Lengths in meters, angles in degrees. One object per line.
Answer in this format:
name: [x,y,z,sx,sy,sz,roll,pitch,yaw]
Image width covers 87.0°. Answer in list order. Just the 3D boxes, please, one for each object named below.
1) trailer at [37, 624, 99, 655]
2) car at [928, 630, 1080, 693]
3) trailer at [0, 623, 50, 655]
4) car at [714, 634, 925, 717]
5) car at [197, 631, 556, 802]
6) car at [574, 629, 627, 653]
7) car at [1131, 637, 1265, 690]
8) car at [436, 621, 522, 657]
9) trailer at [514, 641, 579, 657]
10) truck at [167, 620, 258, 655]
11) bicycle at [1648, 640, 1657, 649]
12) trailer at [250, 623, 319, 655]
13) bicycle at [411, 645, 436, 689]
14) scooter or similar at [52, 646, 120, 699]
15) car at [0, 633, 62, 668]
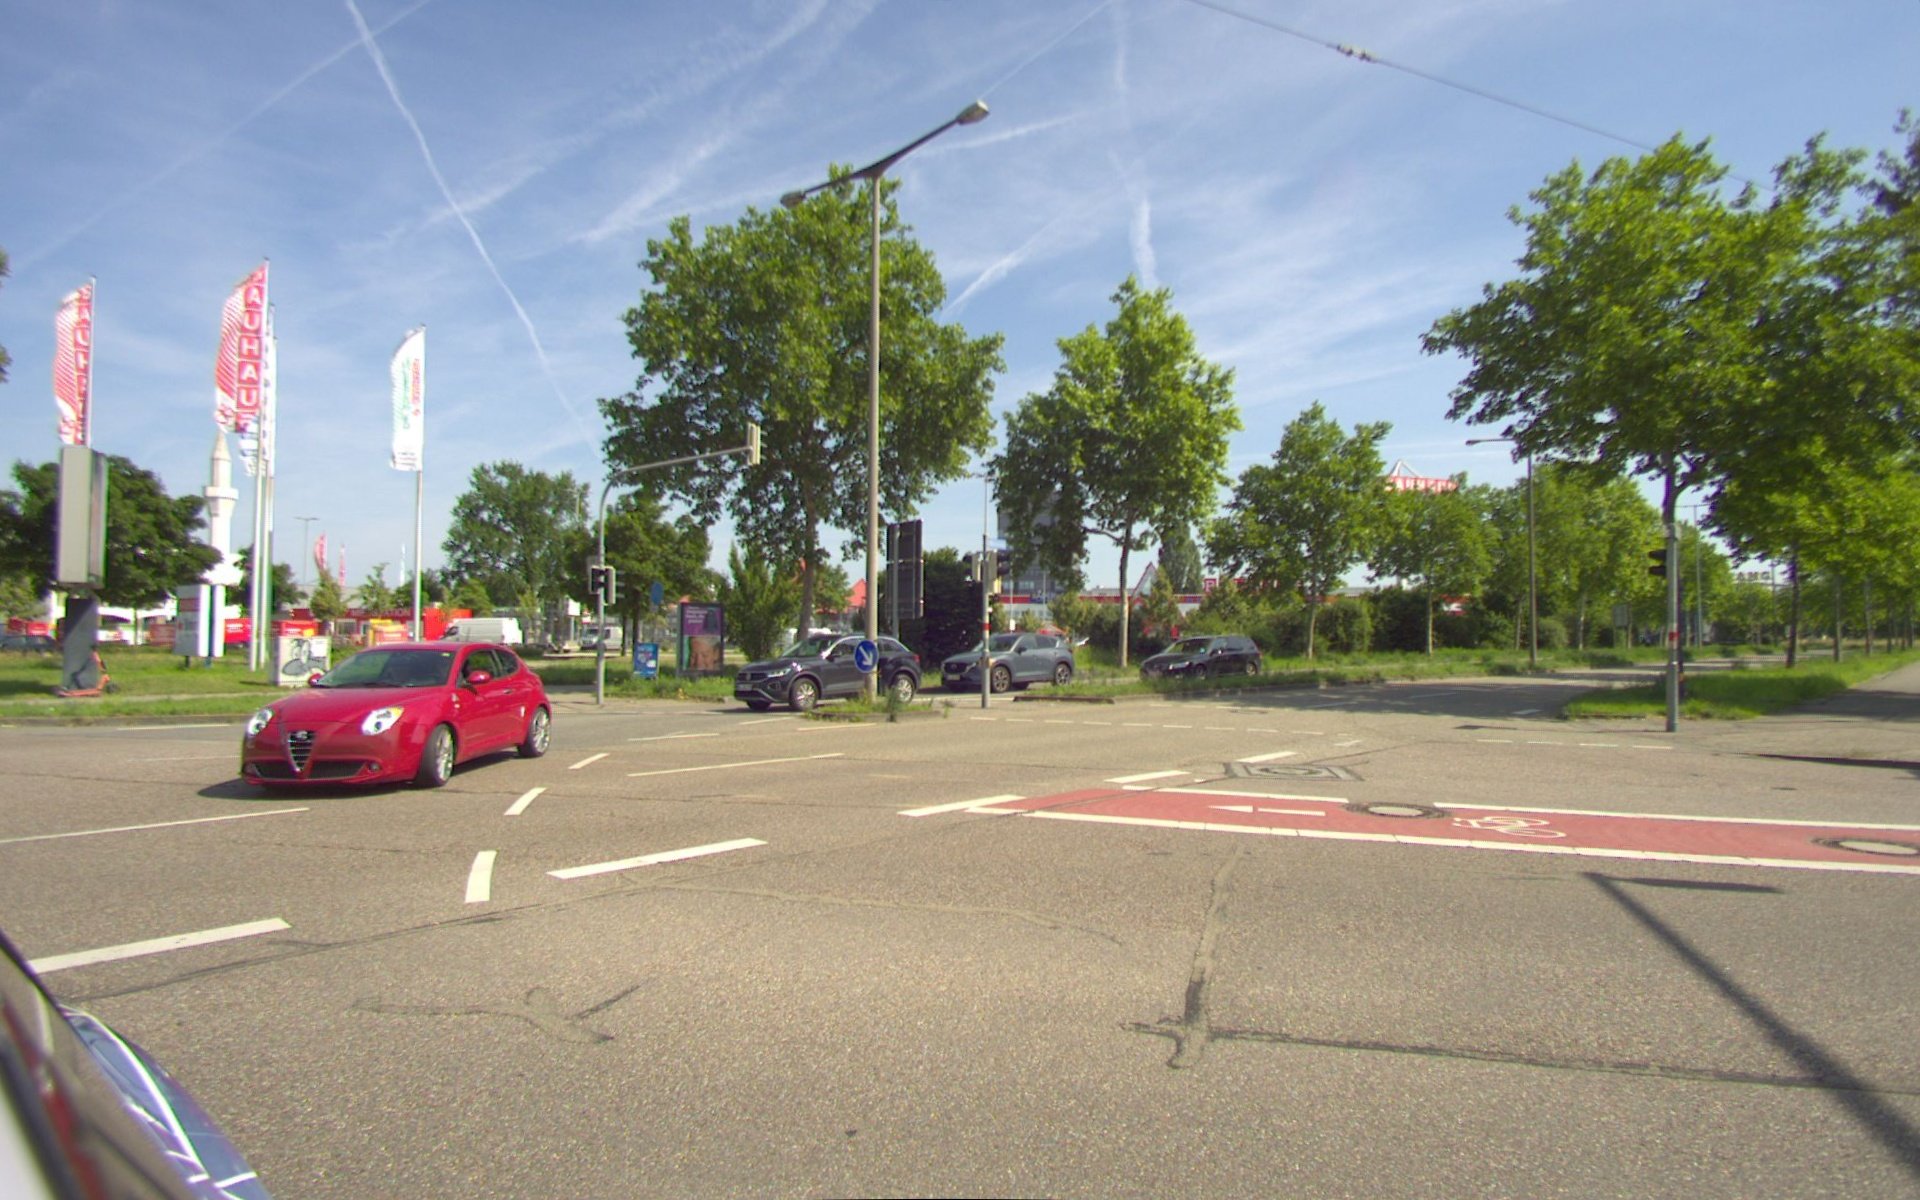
trailer: [-70.188,3.099,79.650,4.373,2.376,1.542,0,-3,17]
car: [1.339,1.744,29.033,4.429,1.672,1.773,2,-5,-44]
trailer: [-71.569,2.937,76.723,4.368,2.394,1.584,0,-3,14]
car: [-2.852,1.501,21.056,4.019,1.557,1.877,2,-3,-43]
car: [-5.889,1.131,10.824,1.636,1.449,3.908,-1,-3,-1]
car: [-28.350,3.279,79.983,1.853,1.830,4.817,1,-3,9]
car: [7.184,1.879,30.307,4.509,1.439,1.719,2,-5,-44]
car: [-35.630,2.899,74.966,5.625,2.561,2.013,-1,0,10]
trailer: [-30.176,3.563,73.862,3.991,1.131,2.061,-1,0,13]
truck: [-58.113,2.930,78.886,1.996,2.629,6.013,0,-3,9]
bicycle: [94.723,6.079,138.433,1.905,1.247,0.688,2,-3,-43]
trailer: [-52.338,3.026,78.521,1.735,2.394,4.390,0,-3,14]
bicycle: [-14.715,1.820,27.775,0.495,1.116,1.798,1,-1,-24]
scooter or similar: [-19.603,1.612,22.716,1.107,1.135,0.426,2,-3,-44]
car: [-45.419,2.381,47.896,1.716,1.599,4.025,-1,-2,19]
